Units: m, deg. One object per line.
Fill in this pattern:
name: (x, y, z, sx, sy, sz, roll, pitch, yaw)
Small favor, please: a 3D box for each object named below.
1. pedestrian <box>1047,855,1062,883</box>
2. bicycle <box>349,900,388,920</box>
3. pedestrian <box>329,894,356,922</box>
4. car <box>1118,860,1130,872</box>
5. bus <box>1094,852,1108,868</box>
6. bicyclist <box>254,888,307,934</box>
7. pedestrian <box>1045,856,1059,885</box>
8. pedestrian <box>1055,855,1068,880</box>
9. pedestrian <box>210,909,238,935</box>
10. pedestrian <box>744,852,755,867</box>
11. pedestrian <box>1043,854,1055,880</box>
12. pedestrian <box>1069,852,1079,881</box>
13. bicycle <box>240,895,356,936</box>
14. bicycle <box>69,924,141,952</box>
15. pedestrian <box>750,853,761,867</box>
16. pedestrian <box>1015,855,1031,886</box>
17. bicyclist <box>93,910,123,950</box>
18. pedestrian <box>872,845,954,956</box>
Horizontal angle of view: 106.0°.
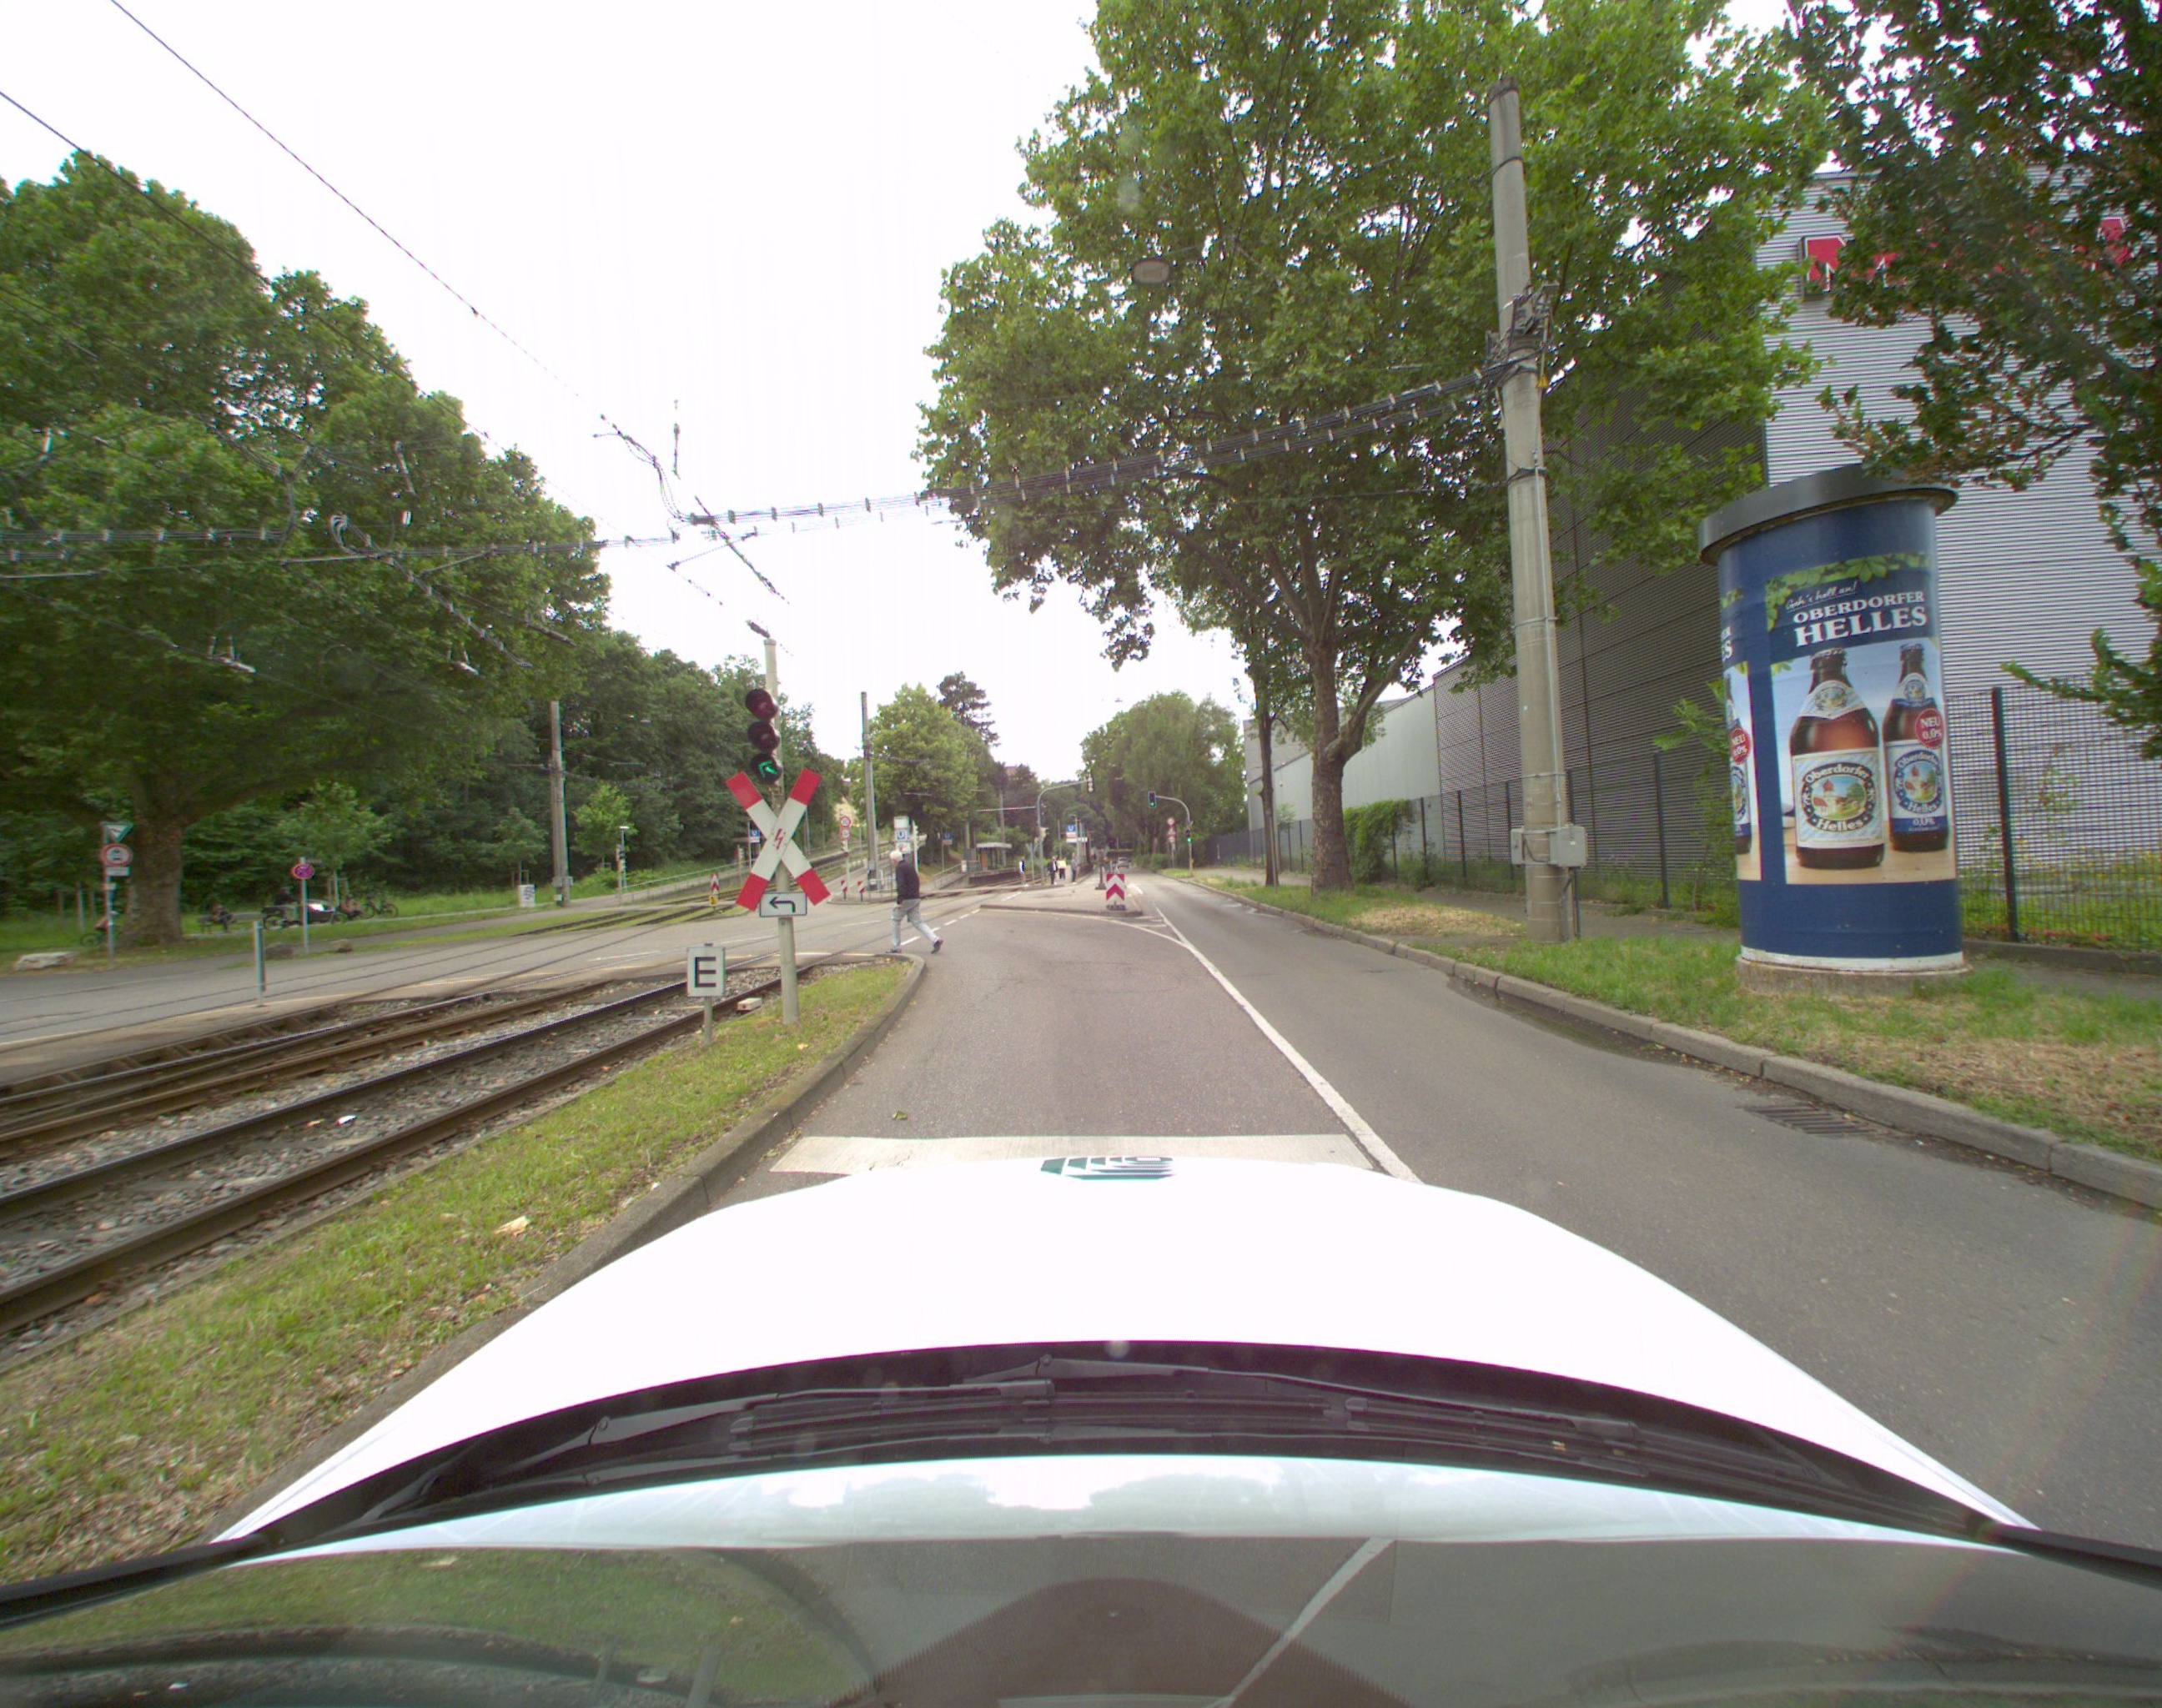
pedestrian: (-1.608, 0.923, 49.654, 0.674, 1.665, 0.741, -1, -1, 17)
bicycle: (-33.478, 2.609, 38.268, 1.726, 0.885, 0.625, -1, -1, 21)
pedestrian: (-33.604, 2.449, 37.061, 0.574, 1.235, 0.676, -1, -1, 15)
car: (6.533, 1.810, 124.461, 1.737, 1.598, 4.003, -1, 2, 2)
bus: (4.979, 1.485, 201.726, 2.720, 3.626, 8.959, 0, -1, 7)
bicyclist: (-32.714, 2.297, 33.292, 0.726, 1.711, 1.301, 1, 3, 28)
pedestrian: (-1.665, 0.949, 47.257, 0.732, 1.665, 0.682, 0, -1, 3)
pedestrian: (-1.280, 0.893, 53.739, 0.735, 1.665, 0.679, 0, -1, -9)
pedestrian: (-35.173, 2.792, 33.431, 0.526, 0.989, 0.623, -1, -1, 17)
pedestrian: (-30.836, 0.536, 75.696, 0.771, 1.326, 0.785, 0, 2, -6)
pedestrian: (-2.102, 0.868, 53.420, 0.735, 1.665, 0.679, 0, -1, -9)
pedestrian: (-0.449, 0.773, 50.960, 0.547, 1.758, 0.739, 0, -1, 6)
bicycle: (-32.427, 2.509, 33.829, 0.726, 1.289, 3.368, 1, 4, 28)
bicycle: (-34.964, 3.013, 29.196, 0.449, 0.738, 1.569, 2, 5, 33)
pedestrian: (-30.727, 0.545, 76.931, 0.771, 1.326, 0.785, 0, -1, -6)
pedestrian: (-3.414, 0.966, 47.782, 0.803, 1.821, 0.667, 0, -1, -14)
bicyclist: (-34.933, 2.720, 29.236, 0.449, 1.301, 0.585, 2, 4, 33)
pedestrian: (-2.795, 0.737, 13.510, 1.106, 1.760, 0.818, -1, -1, 41)
